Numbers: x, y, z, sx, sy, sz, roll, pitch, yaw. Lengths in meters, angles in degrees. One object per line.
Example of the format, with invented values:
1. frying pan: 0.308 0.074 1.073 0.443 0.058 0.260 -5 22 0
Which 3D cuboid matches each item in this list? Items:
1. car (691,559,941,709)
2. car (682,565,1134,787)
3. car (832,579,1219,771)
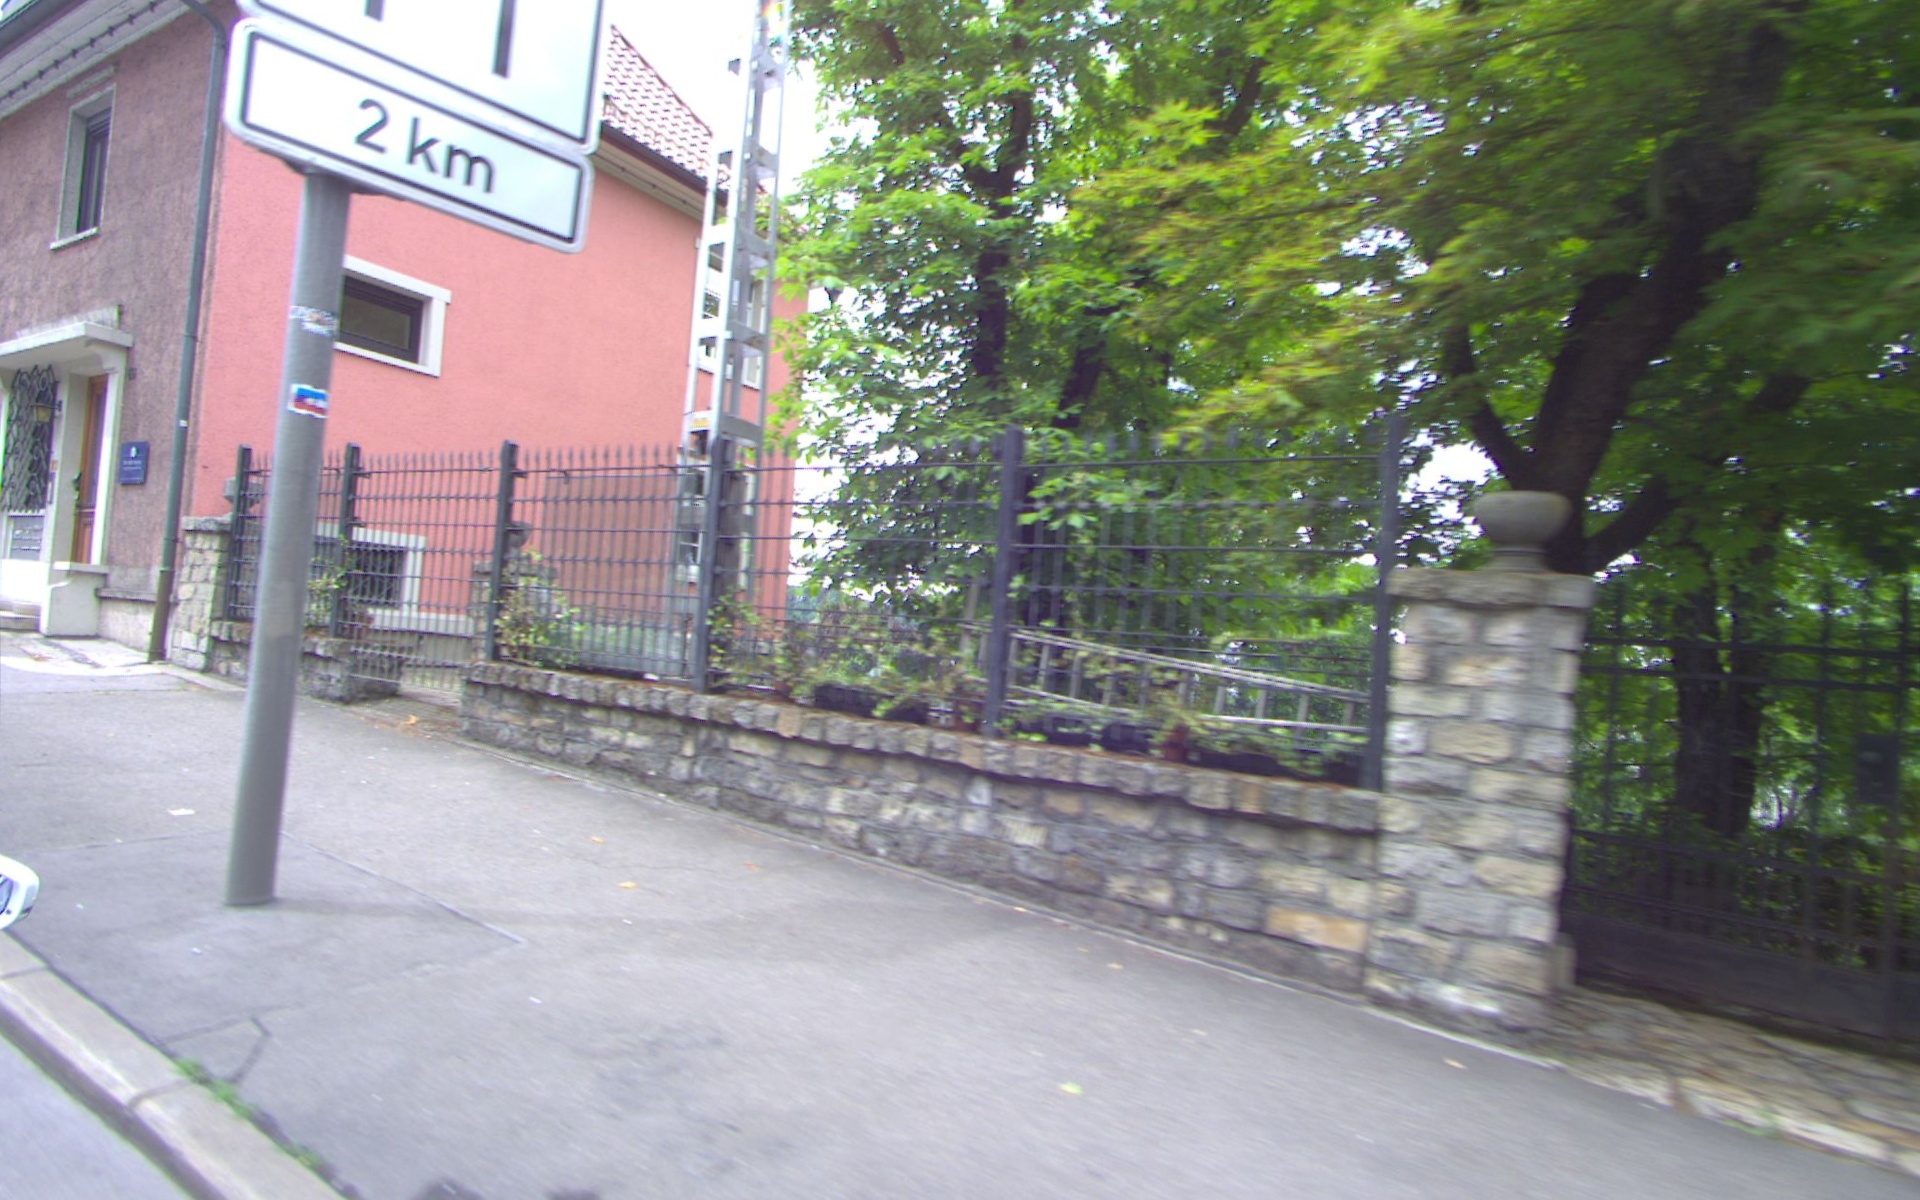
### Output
1. car: -2.035 0.456 14.043 3.094 1.701 1.439 5 -3 32
2. car: -0.569 0.668 9.978 3.935 1.439 1.996 8 -1 33
3. car: 0.724 0.813 11.827 3.935 1.525 1.996 8 -1 33
